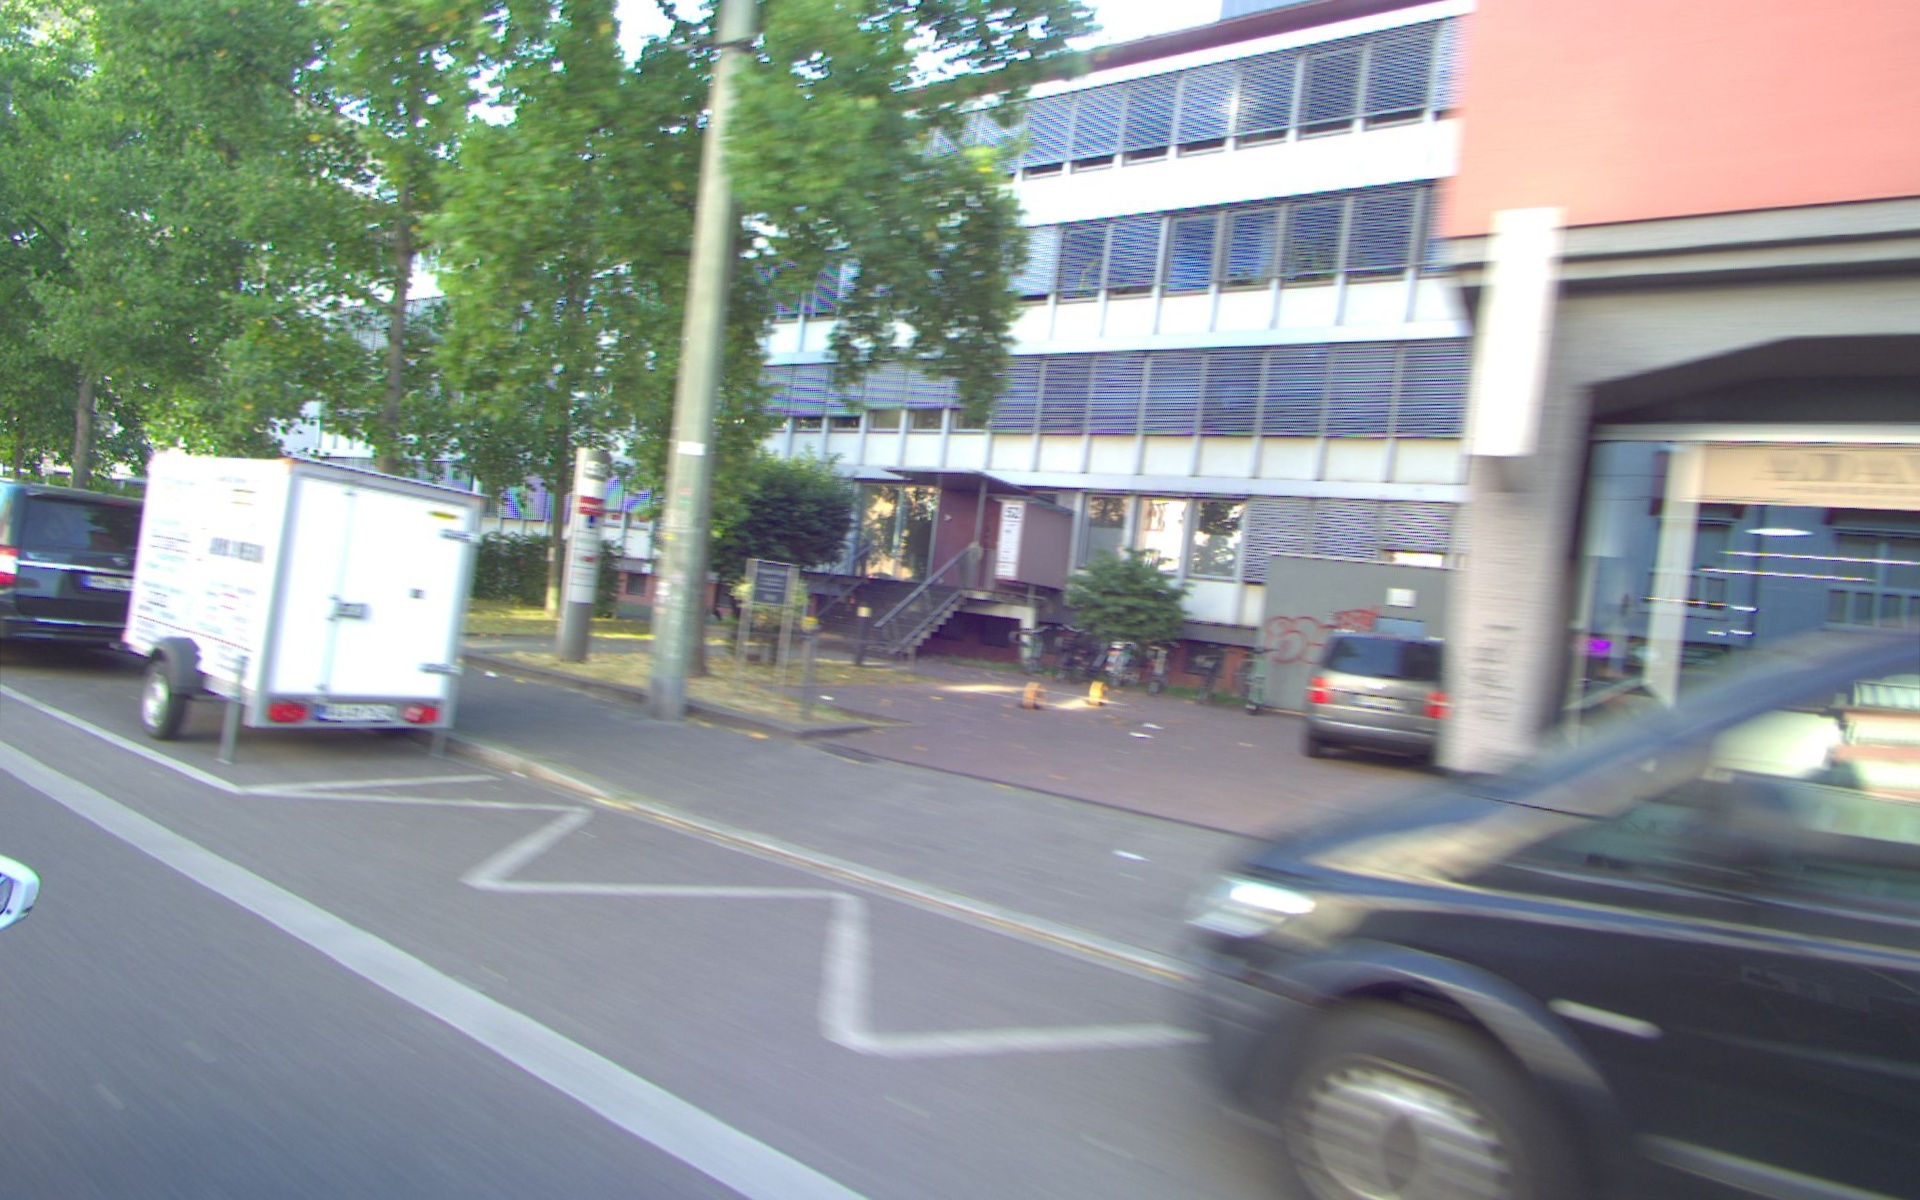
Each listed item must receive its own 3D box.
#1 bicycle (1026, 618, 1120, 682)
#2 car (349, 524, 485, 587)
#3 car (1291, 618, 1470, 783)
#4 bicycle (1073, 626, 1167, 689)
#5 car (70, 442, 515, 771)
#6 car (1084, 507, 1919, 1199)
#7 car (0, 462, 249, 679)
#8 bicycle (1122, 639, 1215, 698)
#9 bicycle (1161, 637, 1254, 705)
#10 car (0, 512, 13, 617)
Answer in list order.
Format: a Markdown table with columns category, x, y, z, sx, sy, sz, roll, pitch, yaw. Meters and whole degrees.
| category | x | y | z | sx | sy | sz | roll | pitch | yaw |
| --- | --- | --- | --- | --- | --- | --- | --- | --- | --- |
| bicycle | 2.448 | 1.068 | 21.555 | 0.849 | 1.205 | 2.316 | 7 | 2 | 37 |
| car | -17.796 | -1.463 | 32.905 | 4.362 | 1.513 | 1.867 | 8 | 1 | 31 |
| car | 5.729 | 1.180 | 13.417 | 1.746 | 1.670 | 4.034 | 7 | 2 | 27 |
| bicycle | 3.390 | 1.193 | 21.130 | 0.849 | 1.167 | 2.316 | 7 | 2 | 37 |
| car | -5.575 | -0.026 | 8.282 | 3.649 | 2.145 | 1.706 | 6 | -1 | 35 |
| car | 3.032 | 0.988 | 2.421 | 4.909 | 1.891 | 1.958 | 6 | -2 | 34 |
| car | -10.029 | -0.430 | 10.766 | 5.095 | 1.809 | 1.953 | 6 | -2 | 32 |
| bicycle | 4.290 | 1.381 | 20.583 | 0.849 | 1.057 | 2.371 | 7 | 2 | 37 |
| bicycle | 4.978 | 1.394 | 20.113 | 0.849 | 1.186 | 2.316 | 7 | 2 | 37 |
| car | -15.373 | -0.784 | 14.211 | 4.598 | 1.444 | 1.719 | 8 | 0 | 32 |
